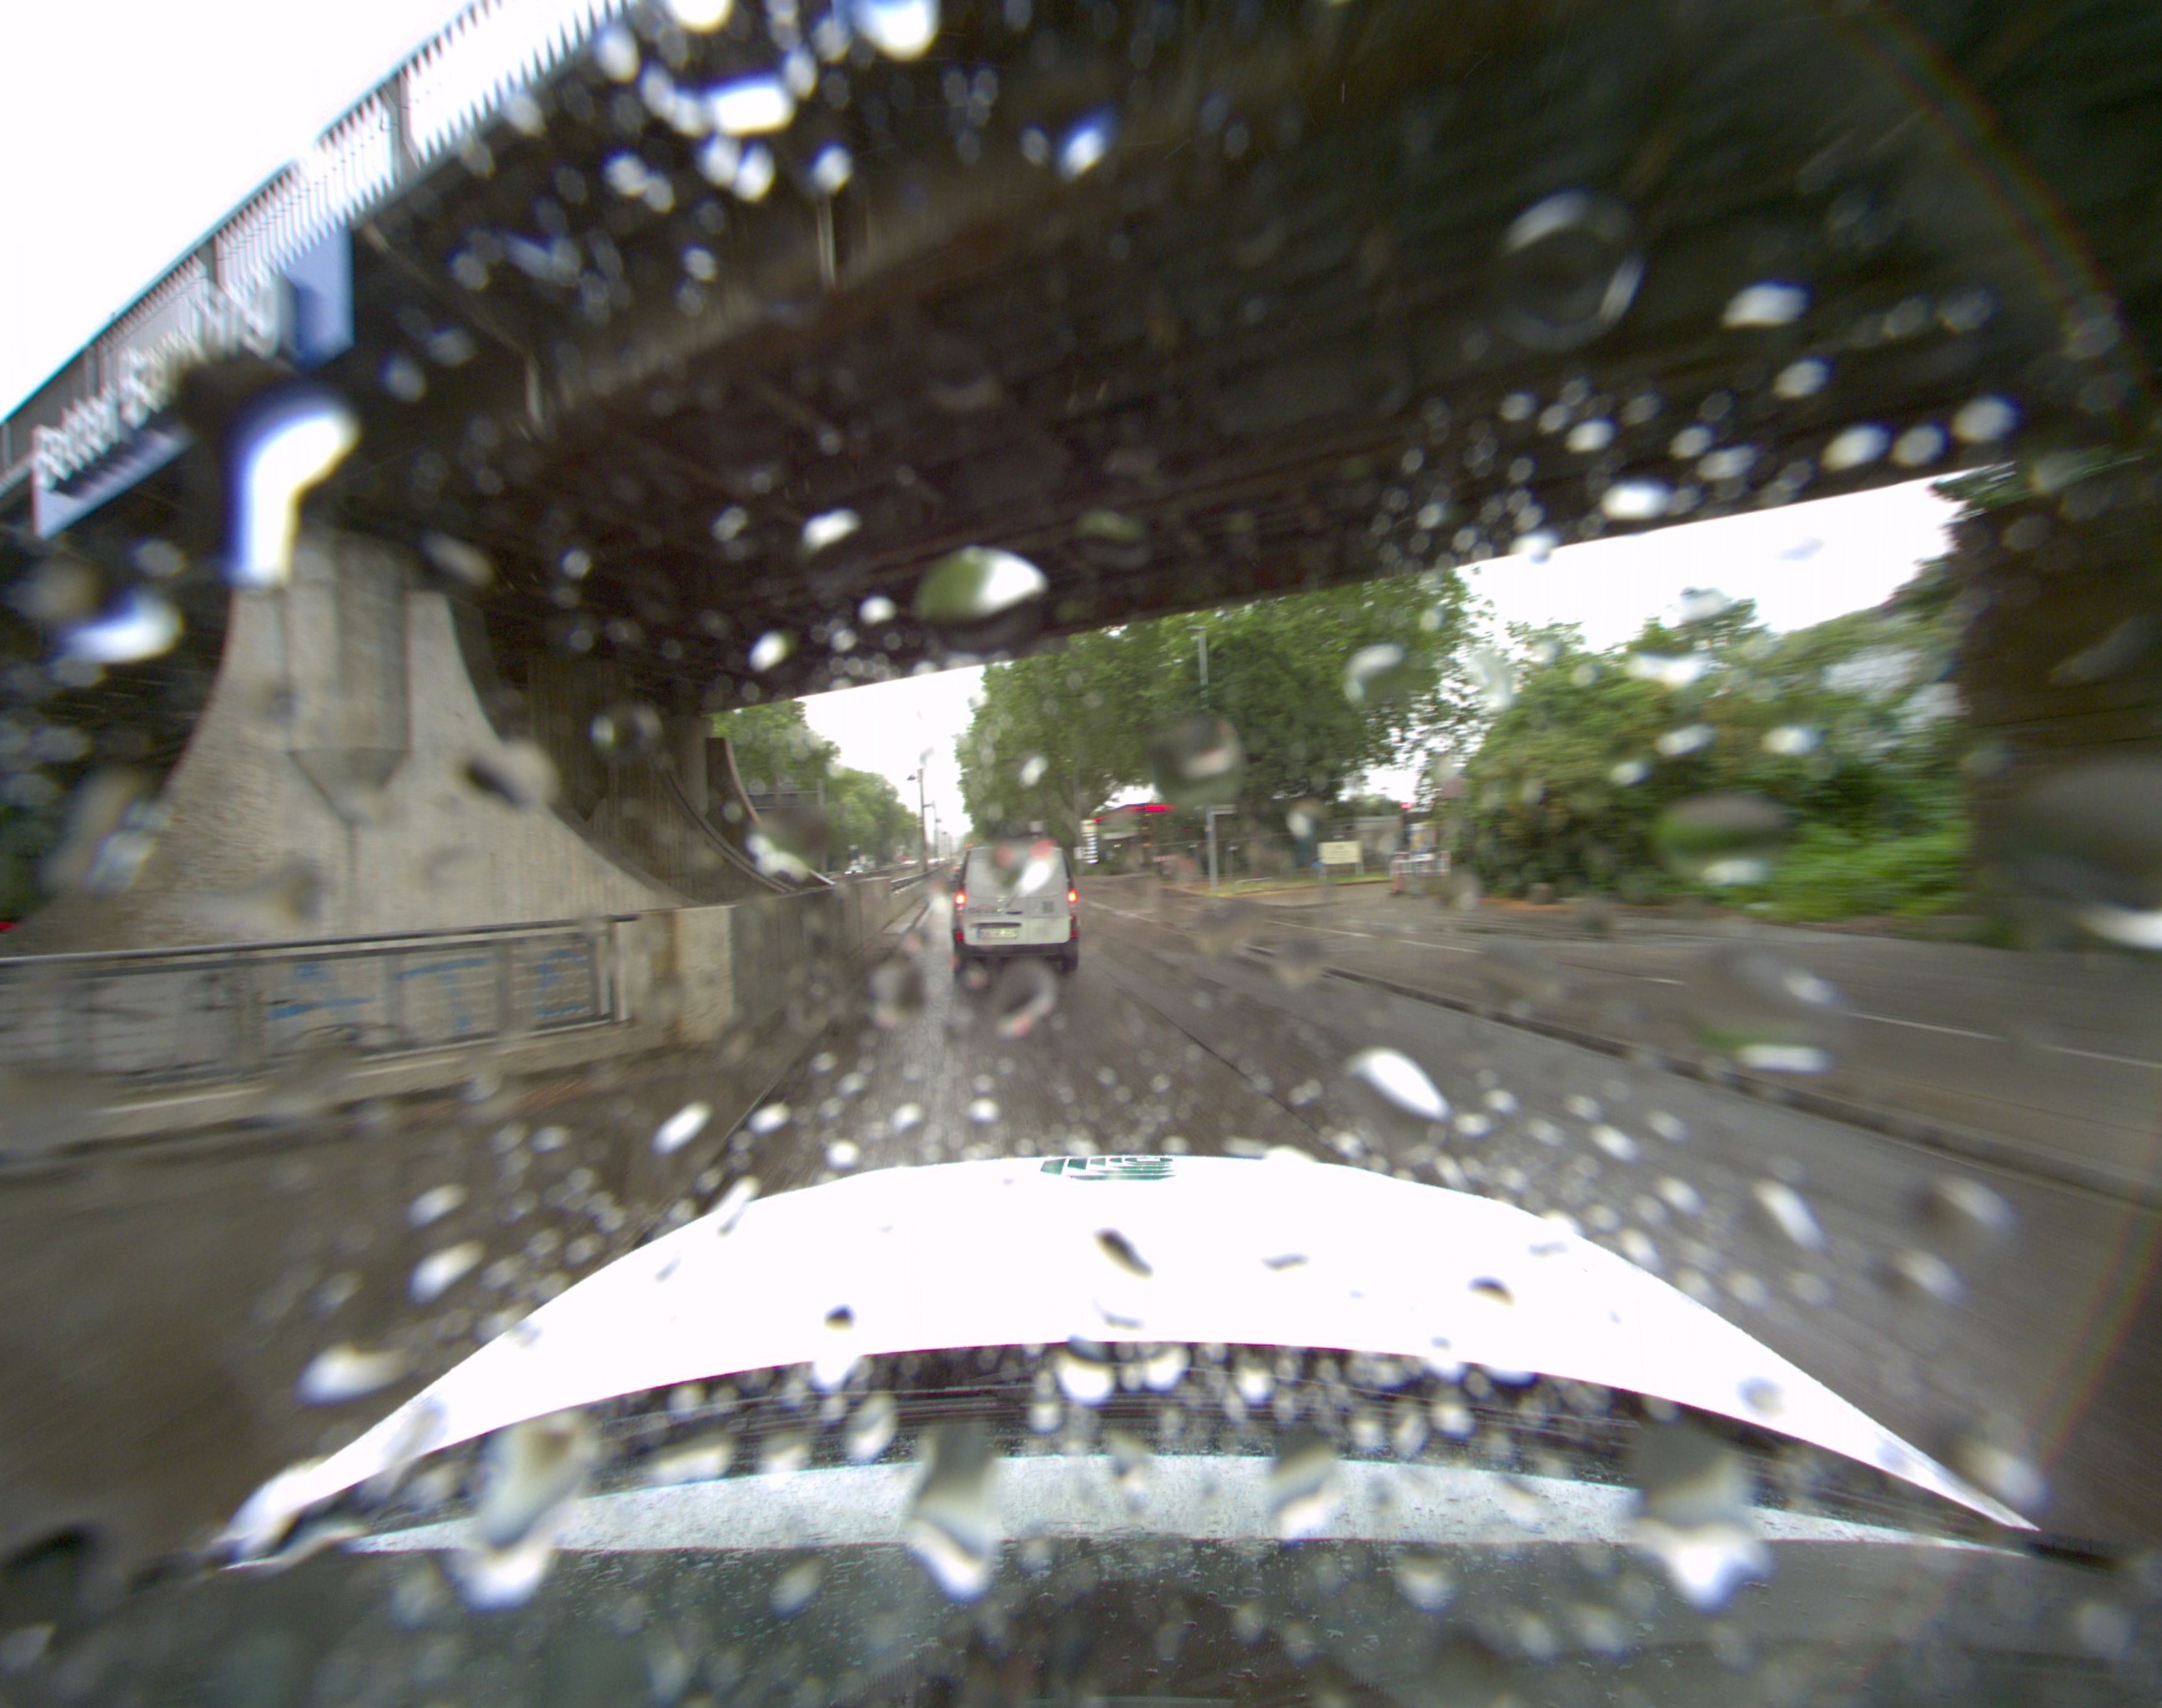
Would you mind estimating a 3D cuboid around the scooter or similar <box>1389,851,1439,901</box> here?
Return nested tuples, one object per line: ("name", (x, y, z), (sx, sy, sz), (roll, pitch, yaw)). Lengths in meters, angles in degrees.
("scooter or similar", (8.605, 0.557, 21.095), (0.766, 1.178, 1.551), (-5, 0, 9))

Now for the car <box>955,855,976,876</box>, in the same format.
("car", (-12.510, 1.205, 88.155), (2.047, 2.140, 3.990), (-2, -1, -7))

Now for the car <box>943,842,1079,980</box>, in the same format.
("car", (-1.248, 0.786, 12.686), (1.756, 1.778, 3.985), (0, -2, -10))

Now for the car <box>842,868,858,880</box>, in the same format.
("car", (-33.083, 2.860, 116.707), (1.910, 1.571, 3.980), (-3, 0, -15))

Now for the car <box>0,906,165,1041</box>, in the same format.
("car", (-13.208, 1.443, 9.109), (1.816, 1.452, 3.985), (-3, -1, -11))

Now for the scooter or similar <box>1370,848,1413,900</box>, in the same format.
("scooter or similar", (8.703, 0.544, 22.783), (0.701, 1.310, 1.568), (-8, -4, 31))

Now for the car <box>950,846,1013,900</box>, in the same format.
("car", (-3.458, 0.633, 27.863), (1.917, 1.609, 3.988), (-3, -1, -9))

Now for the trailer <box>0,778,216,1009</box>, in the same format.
("trailer", (-19.934, 0.726, 13.492), (2.678, 3.986, 8.500), (-3, 0, -7))
